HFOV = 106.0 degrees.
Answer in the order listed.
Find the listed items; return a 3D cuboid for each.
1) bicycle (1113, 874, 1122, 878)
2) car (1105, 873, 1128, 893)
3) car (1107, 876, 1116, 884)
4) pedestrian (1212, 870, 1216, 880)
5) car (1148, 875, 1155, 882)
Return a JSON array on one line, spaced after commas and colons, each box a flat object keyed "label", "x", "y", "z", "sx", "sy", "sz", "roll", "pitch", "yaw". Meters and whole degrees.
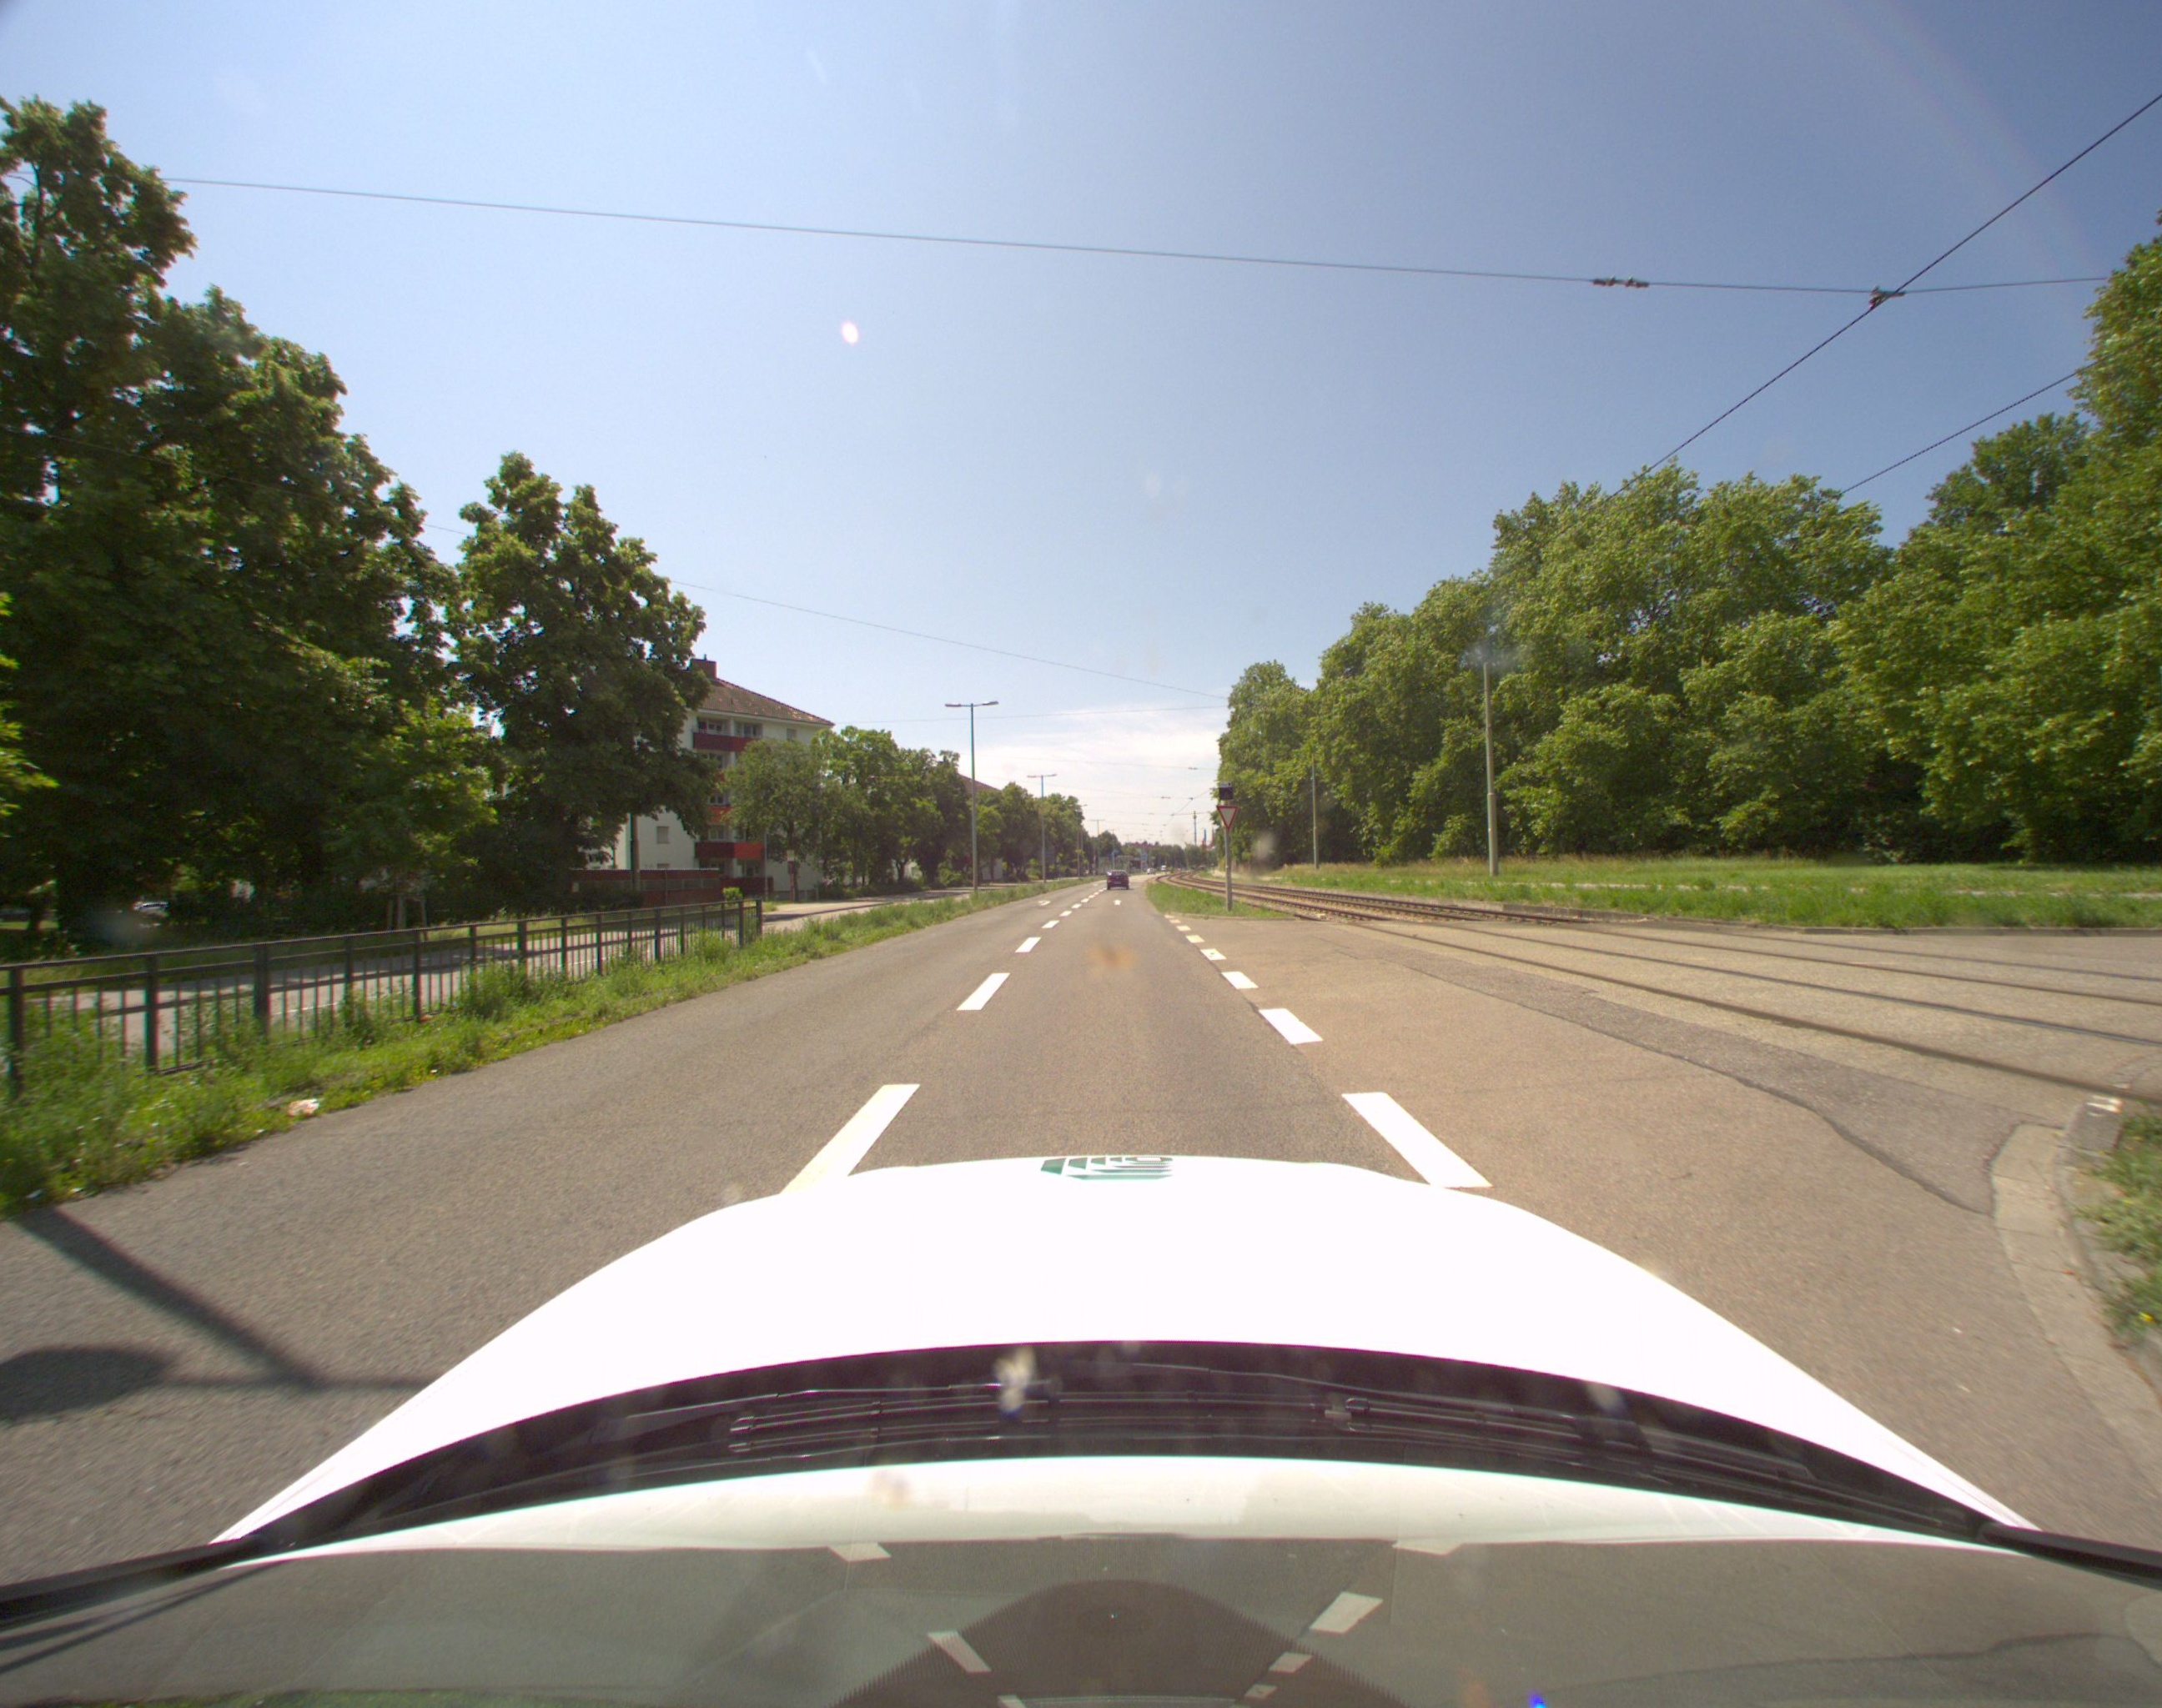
[{"label": "bicycle", "x": 10.618, "y": 6.355, "z": 236.506, "sx": 2.546, "sy": 1.038, "sz": 1.085, "roll": 0, "pitch": -3, "yaw": -5}, {"label": "car", "x": 2.692, "y": 2.222, "z": 61.720, "sx": 1.696, "sy": 1.477, "sz": 3.718, "roll": 0, "pitch": -2, "yaw": 2}, {"label": "car", "x": 7.050, "y": 6.050, "z": 187.290, "sx": 1.914, "sy": 1.626, "sz": 4.762, "roll": -3, "pitch": -2, "yaw": 5}, {"label": "pedestrian", "x": 24.093, "y": 3.801, "z": 147.501, "sx": 0.658, "sy": 1.726, "sz": 0.818, "roll": -2, "pitch": -2, "yaw": 8}, {"label": "car", "x": 17.190, "y": 5.965, "z": 199.189, "sx": 1.695, "sy": 1.481, "sz": 3.720, "roll": 1, "pitch": -2, "yaw": 4}]
